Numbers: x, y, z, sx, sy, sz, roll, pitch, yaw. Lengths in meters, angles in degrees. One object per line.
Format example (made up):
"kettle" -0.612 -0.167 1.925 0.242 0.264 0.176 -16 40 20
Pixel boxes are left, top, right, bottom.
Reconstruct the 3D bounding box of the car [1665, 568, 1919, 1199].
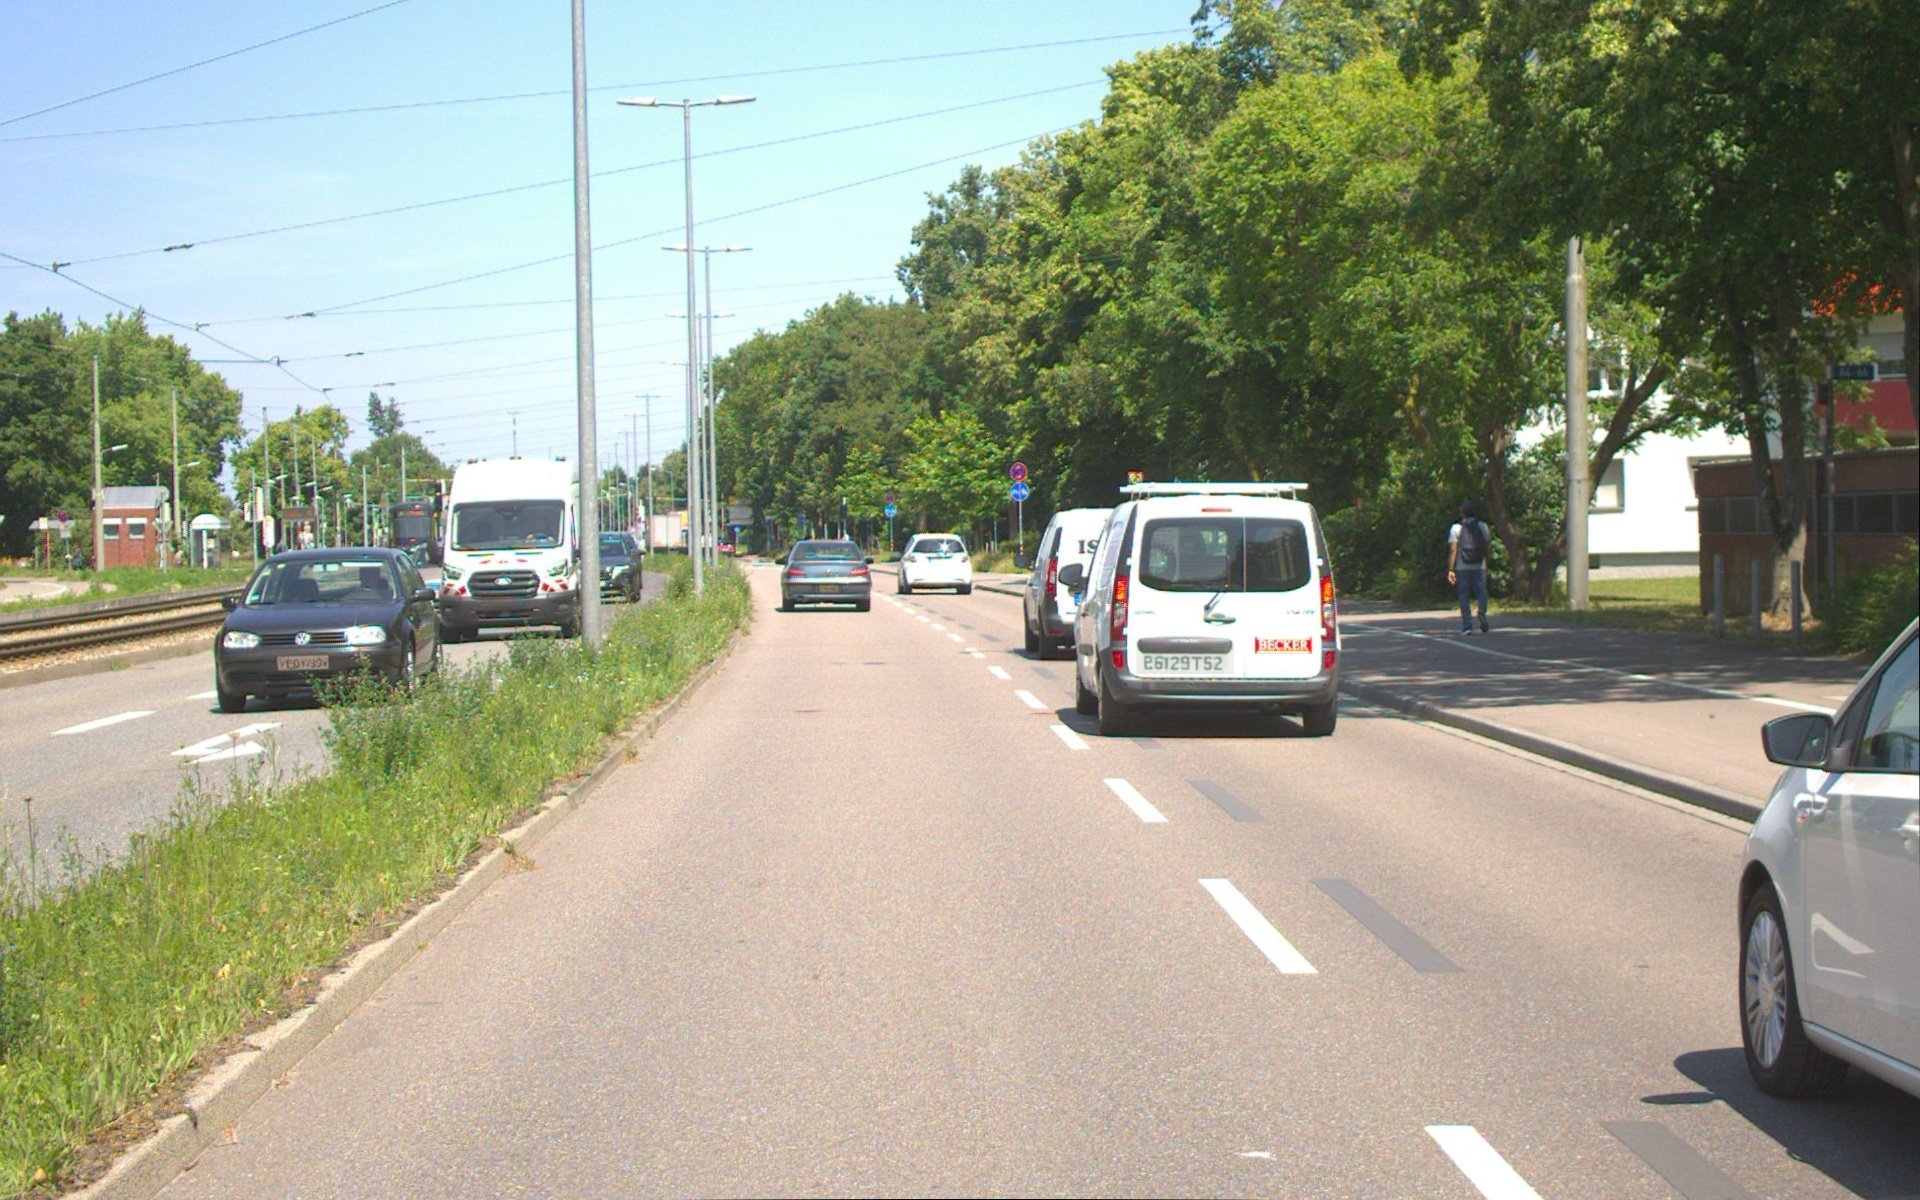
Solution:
"car" 2.944 0.670 8.071 1.659 1.444 3.855 0 1 -2

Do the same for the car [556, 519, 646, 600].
"car" -8.295 -0.969 79.695 1.829 1.750 4.489 -3 2 -4

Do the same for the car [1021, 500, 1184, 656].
"car" 1.686 -0.315 41.942 1.727 1.807 4.001 0 2 -1

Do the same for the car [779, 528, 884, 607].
"car" -2.552 -0.655 67.364 1.801 1.481 4.001 -1 1 -5

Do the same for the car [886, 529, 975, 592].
"car" -0.774 -1.012 86.651 1.803 1.534 4.001 -1 1 -6

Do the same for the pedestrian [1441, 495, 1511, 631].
"pedestrian" 6.345 -0.458 42.321 0.668 1.638 0.856 -1 1 -3

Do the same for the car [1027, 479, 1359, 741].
"car" 1.719 0.023 26.888 1.824 1.875 4.457 0 1 -6

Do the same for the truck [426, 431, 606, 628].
"truck" -6.648 -1.094 52.018 2.081 2.739 5.548 -2 2 -2

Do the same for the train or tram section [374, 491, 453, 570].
"train or tram section" -28.196 -3.592 178.759 2.787 3.655 37.527 -1 1 -7

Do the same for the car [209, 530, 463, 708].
"car" -5.722 0.123 31.934 1.716 1.453 3.914 -2 2 -2
